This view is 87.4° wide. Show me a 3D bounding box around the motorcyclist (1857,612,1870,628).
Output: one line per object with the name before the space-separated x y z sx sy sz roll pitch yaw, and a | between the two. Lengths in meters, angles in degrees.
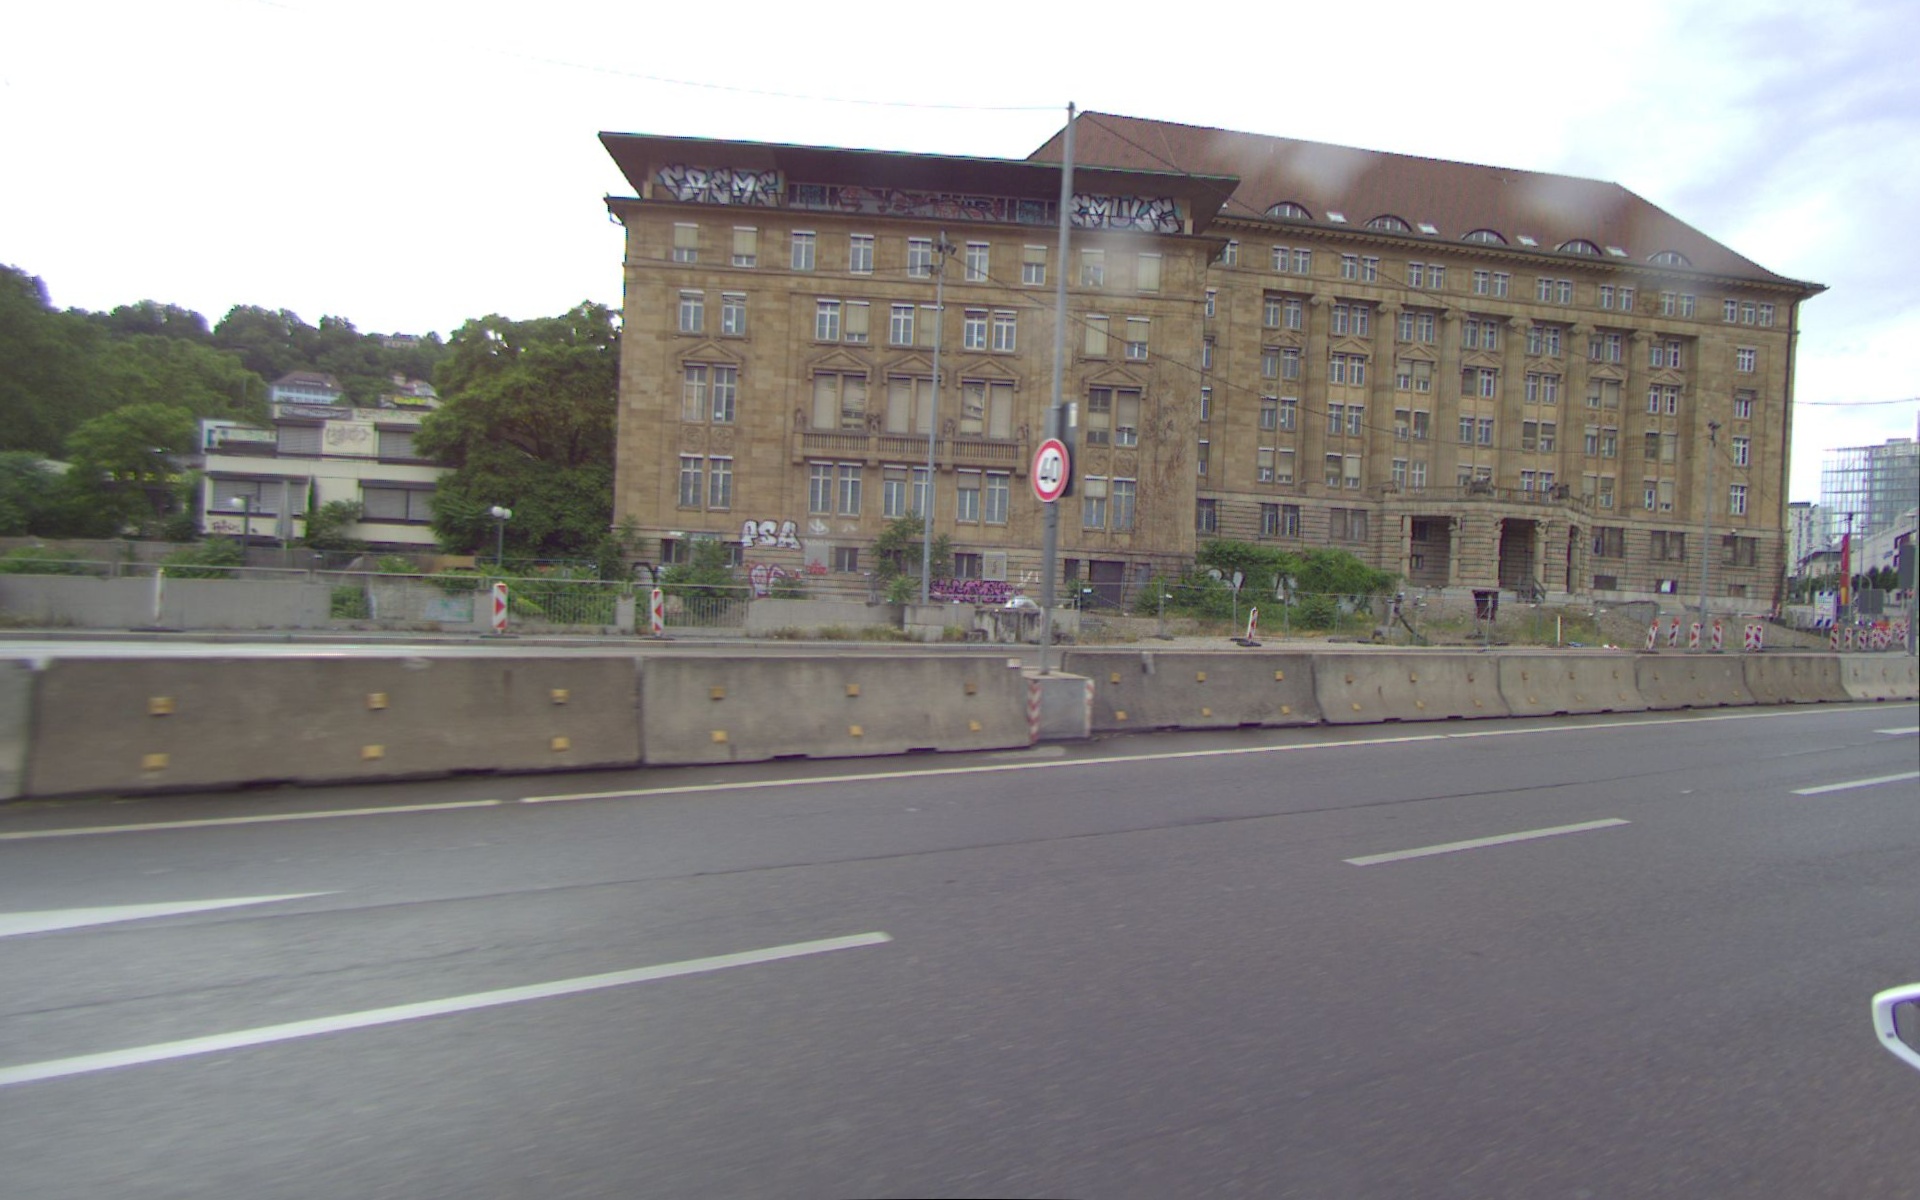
motorcyclist | 83.728 1.836 93.089 0.787 1.470 0.823 2 0 33

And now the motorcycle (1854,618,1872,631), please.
motorcycle | 83.671 2.283 93.055 0.857 1.164 2.148 2 0 33
